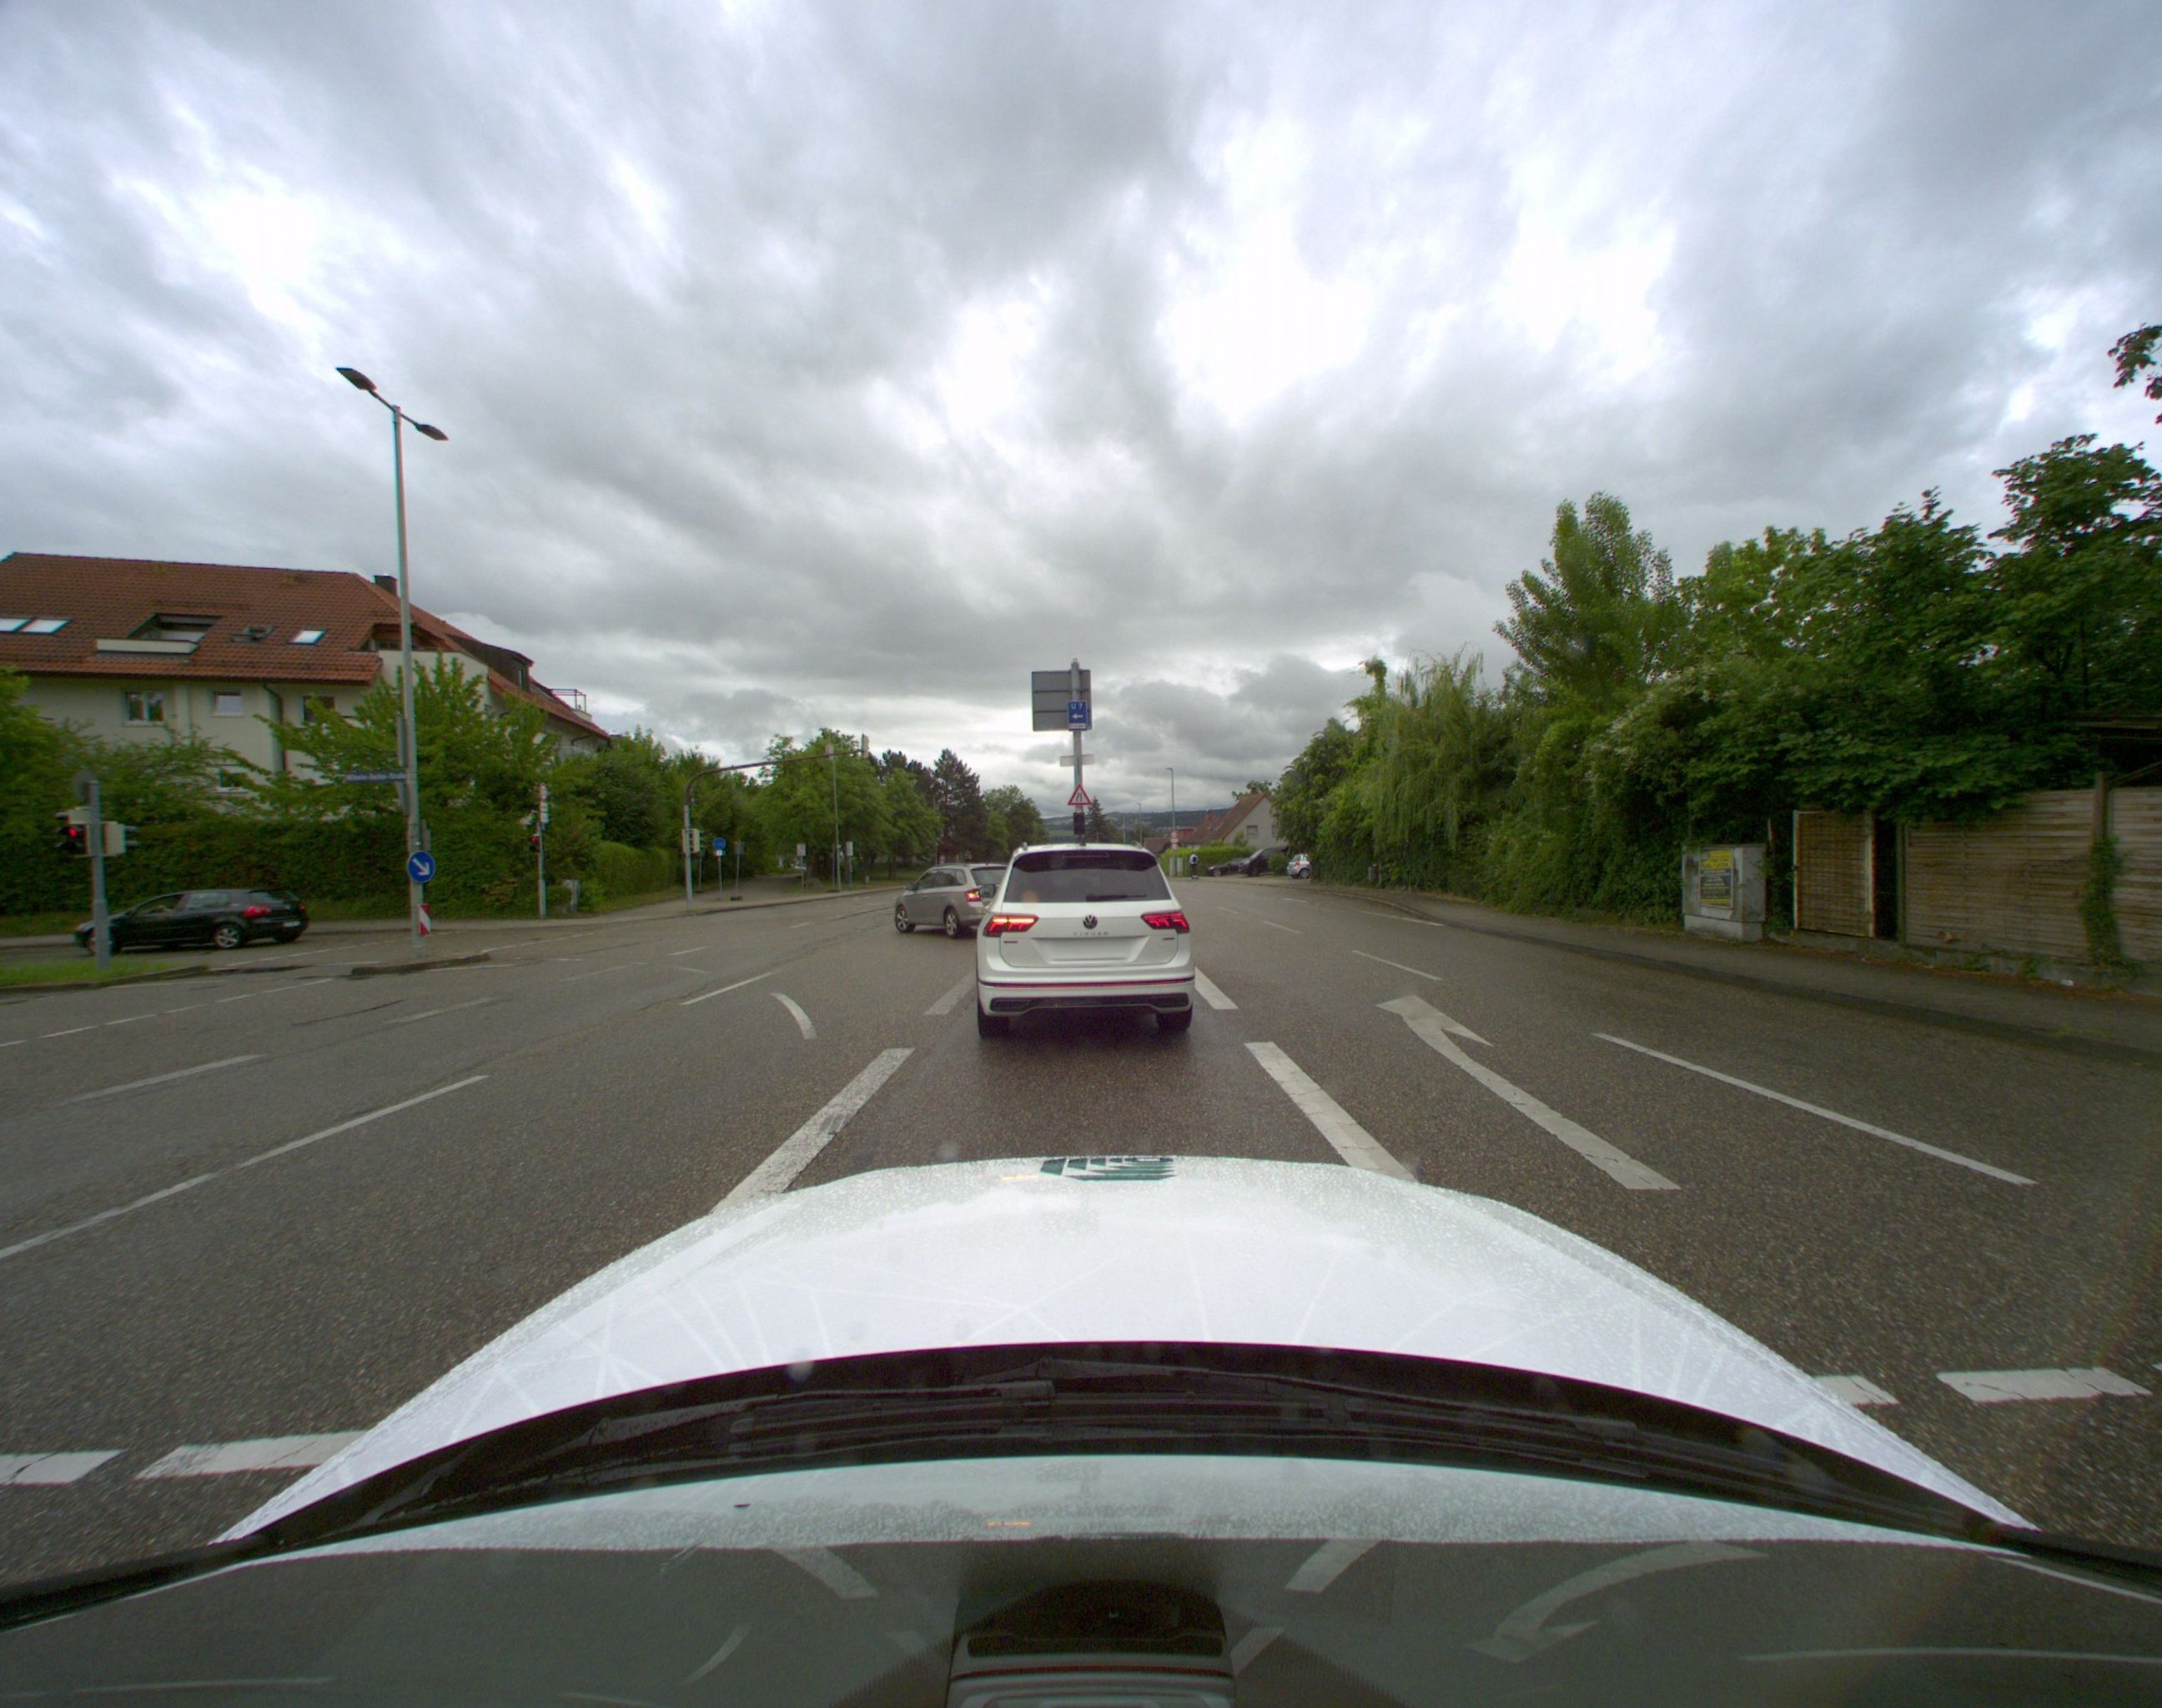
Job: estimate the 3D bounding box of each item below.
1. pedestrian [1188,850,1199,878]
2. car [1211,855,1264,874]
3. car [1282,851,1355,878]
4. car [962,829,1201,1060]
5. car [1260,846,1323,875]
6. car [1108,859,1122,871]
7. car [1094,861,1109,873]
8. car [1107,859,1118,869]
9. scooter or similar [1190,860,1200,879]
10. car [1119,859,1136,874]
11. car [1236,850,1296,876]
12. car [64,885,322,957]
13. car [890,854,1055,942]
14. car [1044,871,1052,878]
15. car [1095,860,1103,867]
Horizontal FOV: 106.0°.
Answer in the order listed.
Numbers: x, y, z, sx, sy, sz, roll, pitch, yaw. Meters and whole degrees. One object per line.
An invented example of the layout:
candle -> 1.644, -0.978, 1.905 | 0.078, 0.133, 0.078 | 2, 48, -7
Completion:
pedestrian -> 8.100, 0.690, 58.550 | 0.654, 2.002, 0.717 | -1, 0, -2
car -> 11.598, 0.790, 60.506 | 3.676, 1.370, 1.518 | -1, -2, -1
car -> 13.920, 0.626, 47.790 | 3.709, 1.395, 1.725 | -2, -1, -6
car -> 0.031, 0.674, 8.224 | 1.757, 1.696, 4.273 | -1, 0, 1
car -> 13.708, 0.437, 53.252 | 3.618, 1.746, 1.706 | -2, 0, -3
car -> 4.692, 1.511, 111.486 | 1.844, 1.574, 4.002 | -2, 0, 2
car -> 2.310, 1.488, 93.506 | 1.659, 1.427, 4.305 | 0, -1, 1
car -> 5.229, 1.652, 136.494 | 1.844, 1.574, 4.002 | -2, 0, 2
scooter or similar -> 8.207, 1.094, 58.533 | 0.460, 1.361, 1.383 | -1, 0, -2
car -> 5.297, 1.433, 93.037 | 1.844, 1.574, 4.001 | 0, -2, 2
car -> 12.620, 0.626, 55.670 | 3.619, 1.626, 1.789 | -2, 0, -3
car -> -21.760, 1.600, 20.137 | 3.988, 1.479, 1.760 | -2, 0, -11
car -> -2.409, 0.864, 17.244 | 1.812, 1.589, 3.883 | -2, 0, -36
car -> -8.214, 5.067, 200.674 | 1.839, 1.717, 3.998 | -2, 0, -1
car -> 4.299, 2.254, 193.604 | 1.844, 1.574, 4.002 | -2, 0, 2
